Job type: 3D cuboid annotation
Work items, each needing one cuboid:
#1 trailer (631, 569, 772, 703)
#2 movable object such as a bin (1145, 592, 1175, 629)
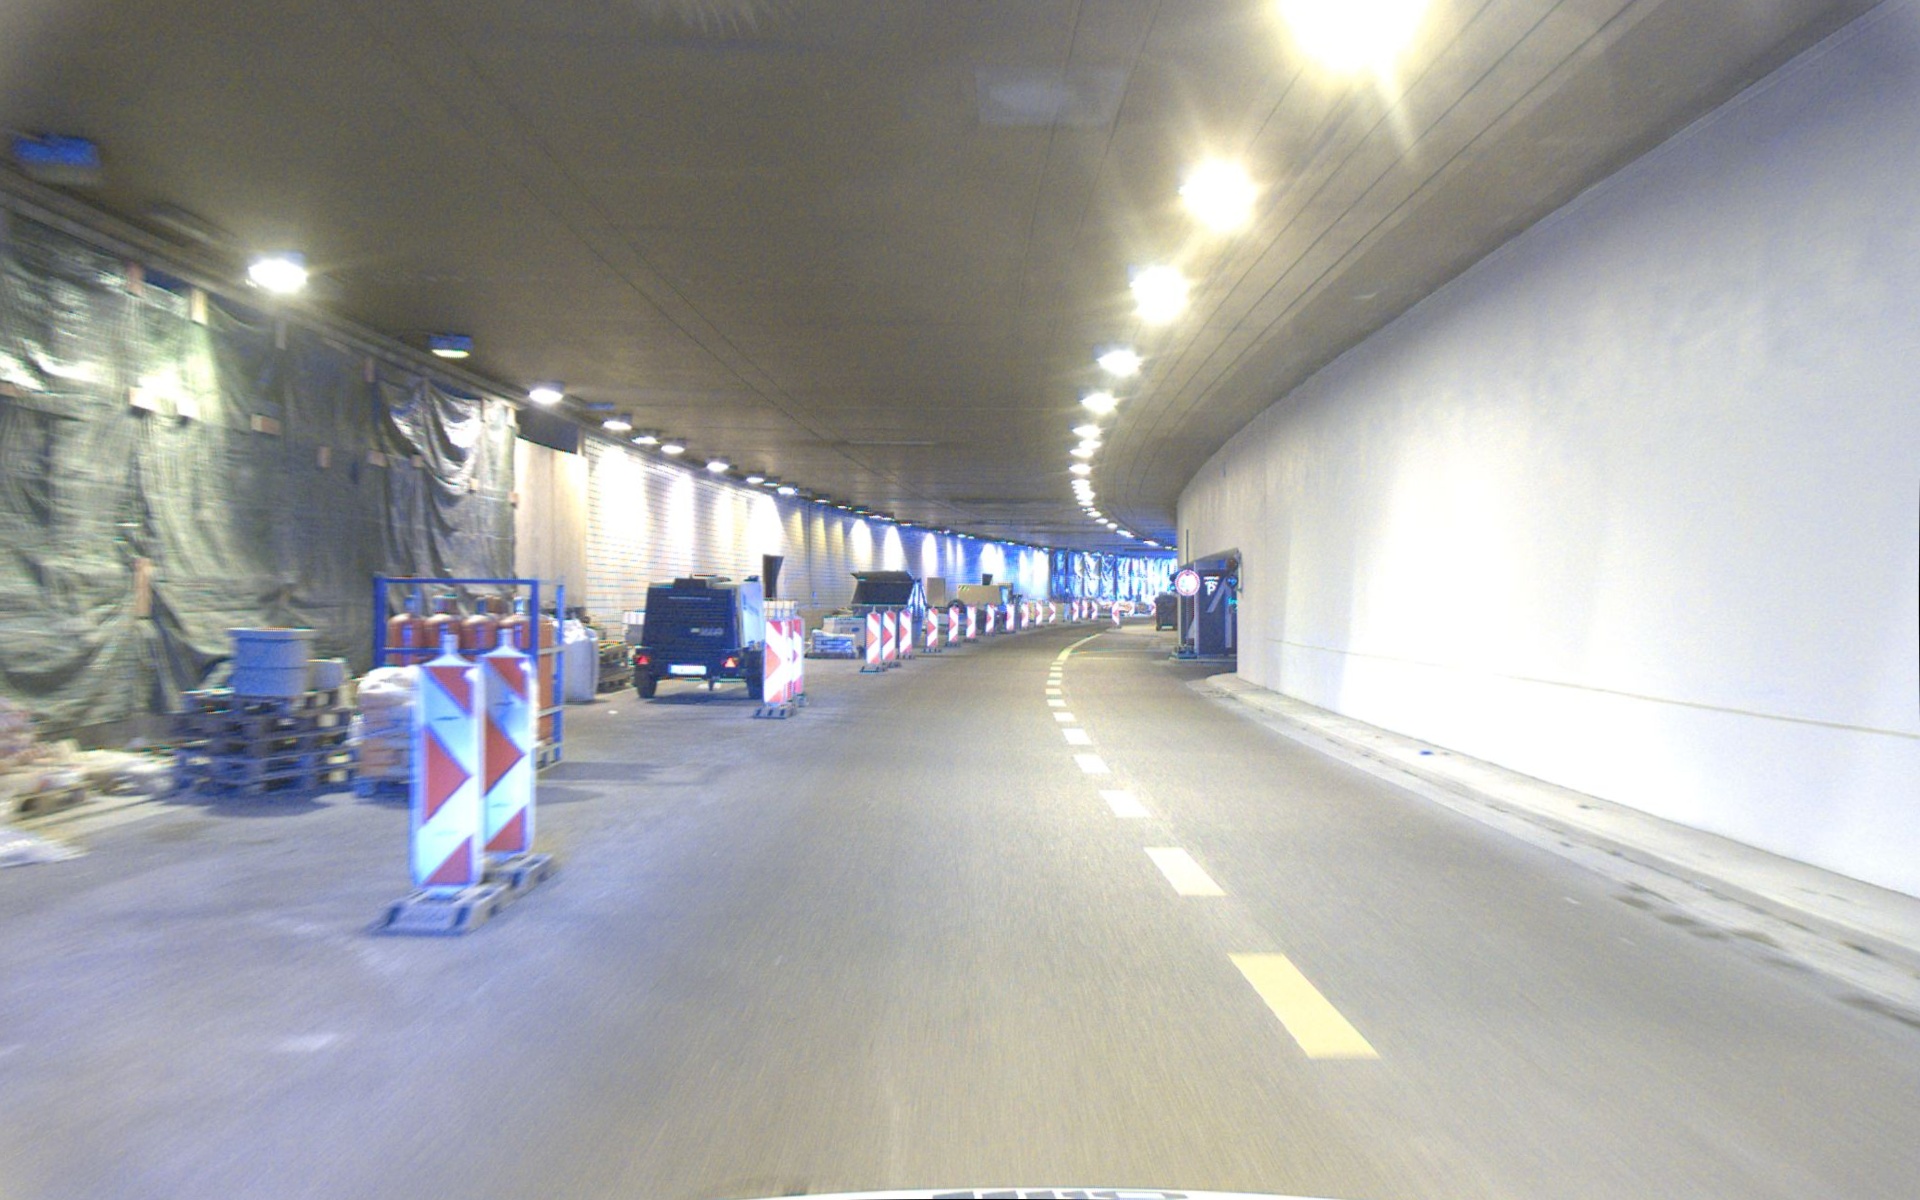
[{"bbox_3d":[-3.759,0.506,24.449,1.548,1.829,2.939,1,0,1],"label":"trailer"},{"bbox_3d":[8.349,0.435,69.000,1.169,1.486,1.606,-2,0,9],"label":"movable object such as a bin"}]
